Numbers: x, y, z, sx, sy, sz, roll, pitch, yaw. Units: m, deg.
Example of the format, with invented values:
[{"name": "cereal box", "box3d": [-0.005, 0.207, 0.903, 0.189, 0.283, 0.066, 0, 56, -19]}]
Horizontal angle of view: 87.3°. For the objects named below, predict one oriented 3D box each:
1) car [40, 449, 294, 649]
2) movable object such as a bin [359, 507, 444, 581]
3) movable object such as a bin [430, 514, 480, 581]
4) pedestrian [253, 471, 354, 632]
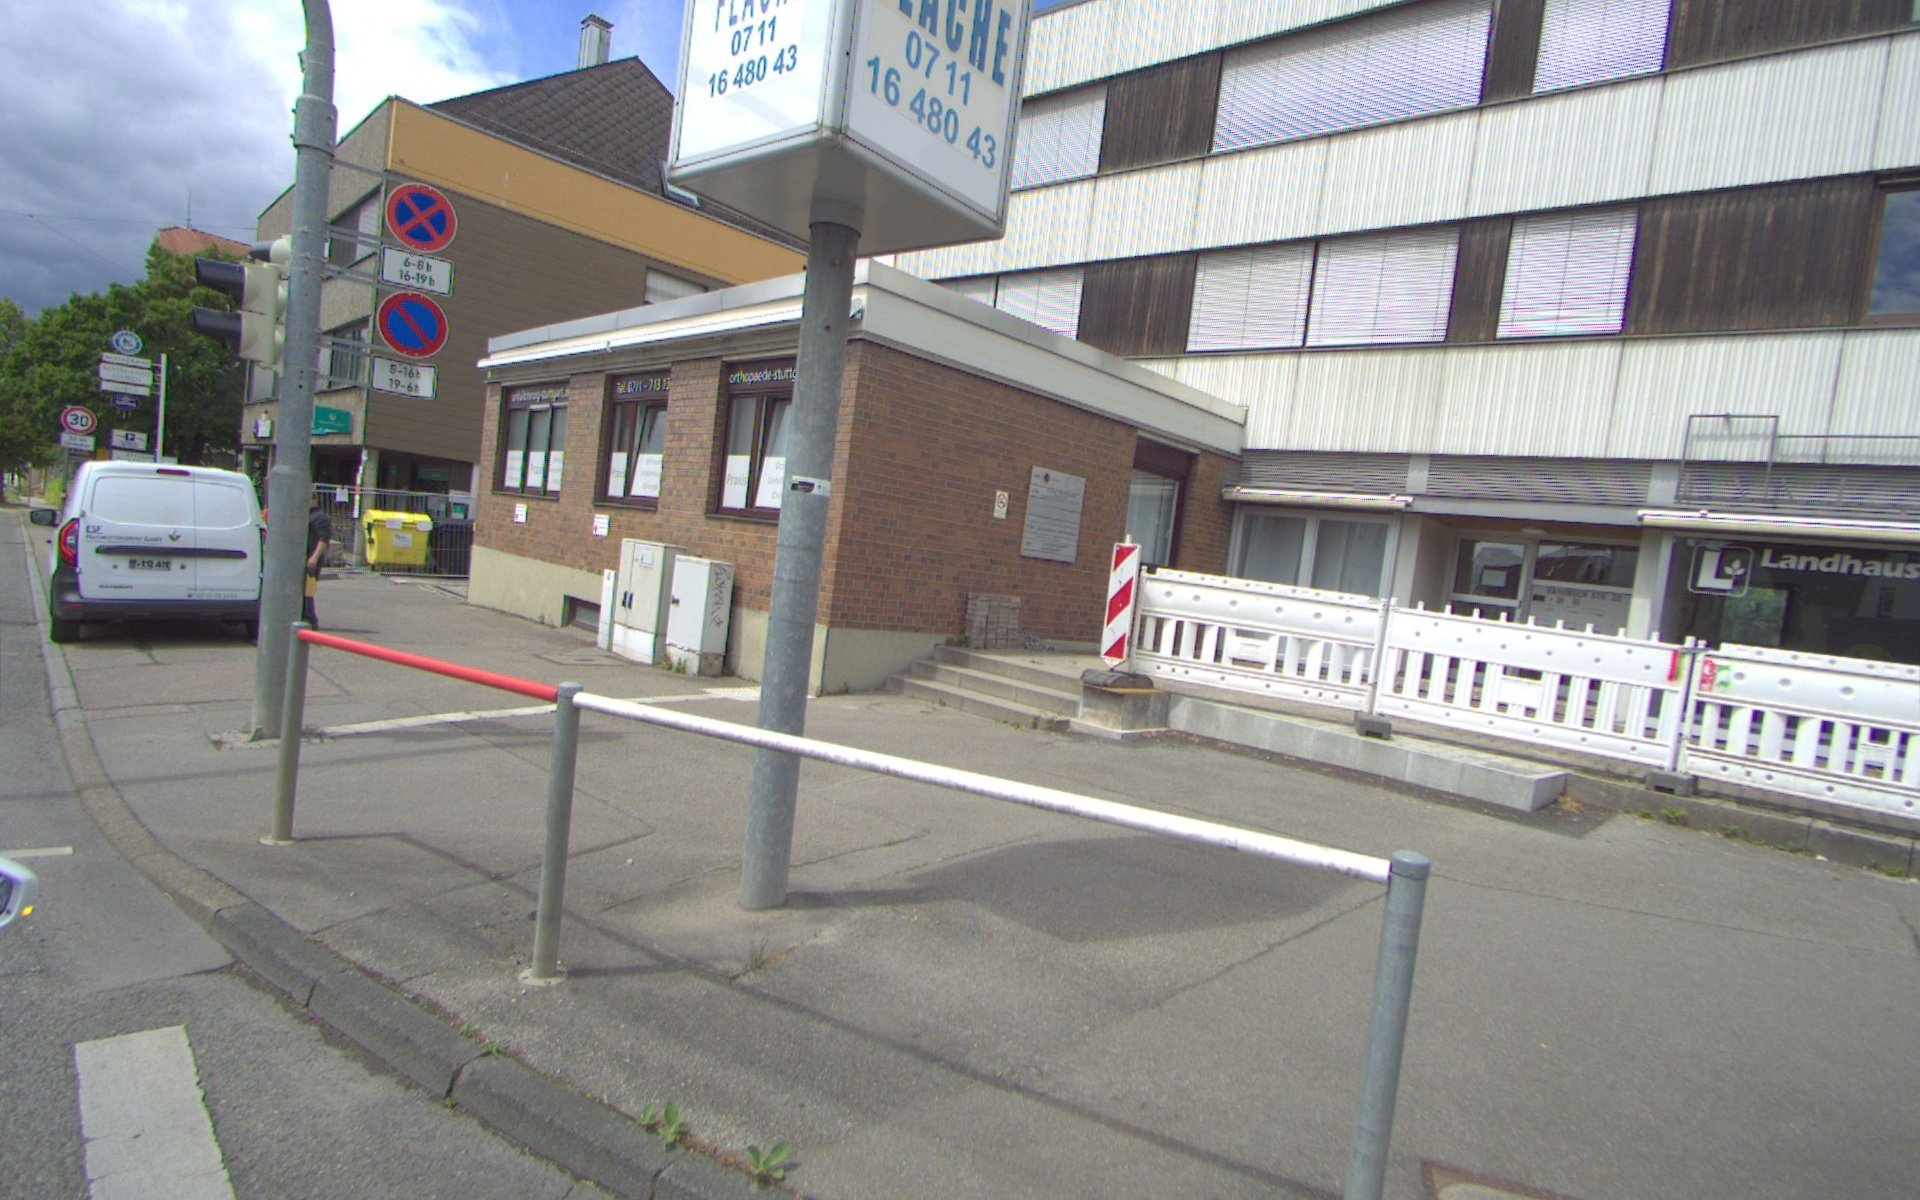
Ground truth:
[{"name": "car", "box3d": [-9.121, -0.616, 11.417, 1.902, 1.819, 4.435, 0, 4, -43]}, {"name": "movable object such as a bin", "box3d": [-13.114, -1.311, 23.636, 1.476, 1.512, 1.063, 4, 5, -41]}, {"name": "movable object such as a bin", "box3d": [-12.288, -1.279, 24.482, 0.776, 1.460, 1.005, 4, 5, -41]}, {"name": "pedestrian", "box3d": [-7.832, -0.565, 11.998, 0.839, 1.828, 0.642, 2, 4, -45]}]
